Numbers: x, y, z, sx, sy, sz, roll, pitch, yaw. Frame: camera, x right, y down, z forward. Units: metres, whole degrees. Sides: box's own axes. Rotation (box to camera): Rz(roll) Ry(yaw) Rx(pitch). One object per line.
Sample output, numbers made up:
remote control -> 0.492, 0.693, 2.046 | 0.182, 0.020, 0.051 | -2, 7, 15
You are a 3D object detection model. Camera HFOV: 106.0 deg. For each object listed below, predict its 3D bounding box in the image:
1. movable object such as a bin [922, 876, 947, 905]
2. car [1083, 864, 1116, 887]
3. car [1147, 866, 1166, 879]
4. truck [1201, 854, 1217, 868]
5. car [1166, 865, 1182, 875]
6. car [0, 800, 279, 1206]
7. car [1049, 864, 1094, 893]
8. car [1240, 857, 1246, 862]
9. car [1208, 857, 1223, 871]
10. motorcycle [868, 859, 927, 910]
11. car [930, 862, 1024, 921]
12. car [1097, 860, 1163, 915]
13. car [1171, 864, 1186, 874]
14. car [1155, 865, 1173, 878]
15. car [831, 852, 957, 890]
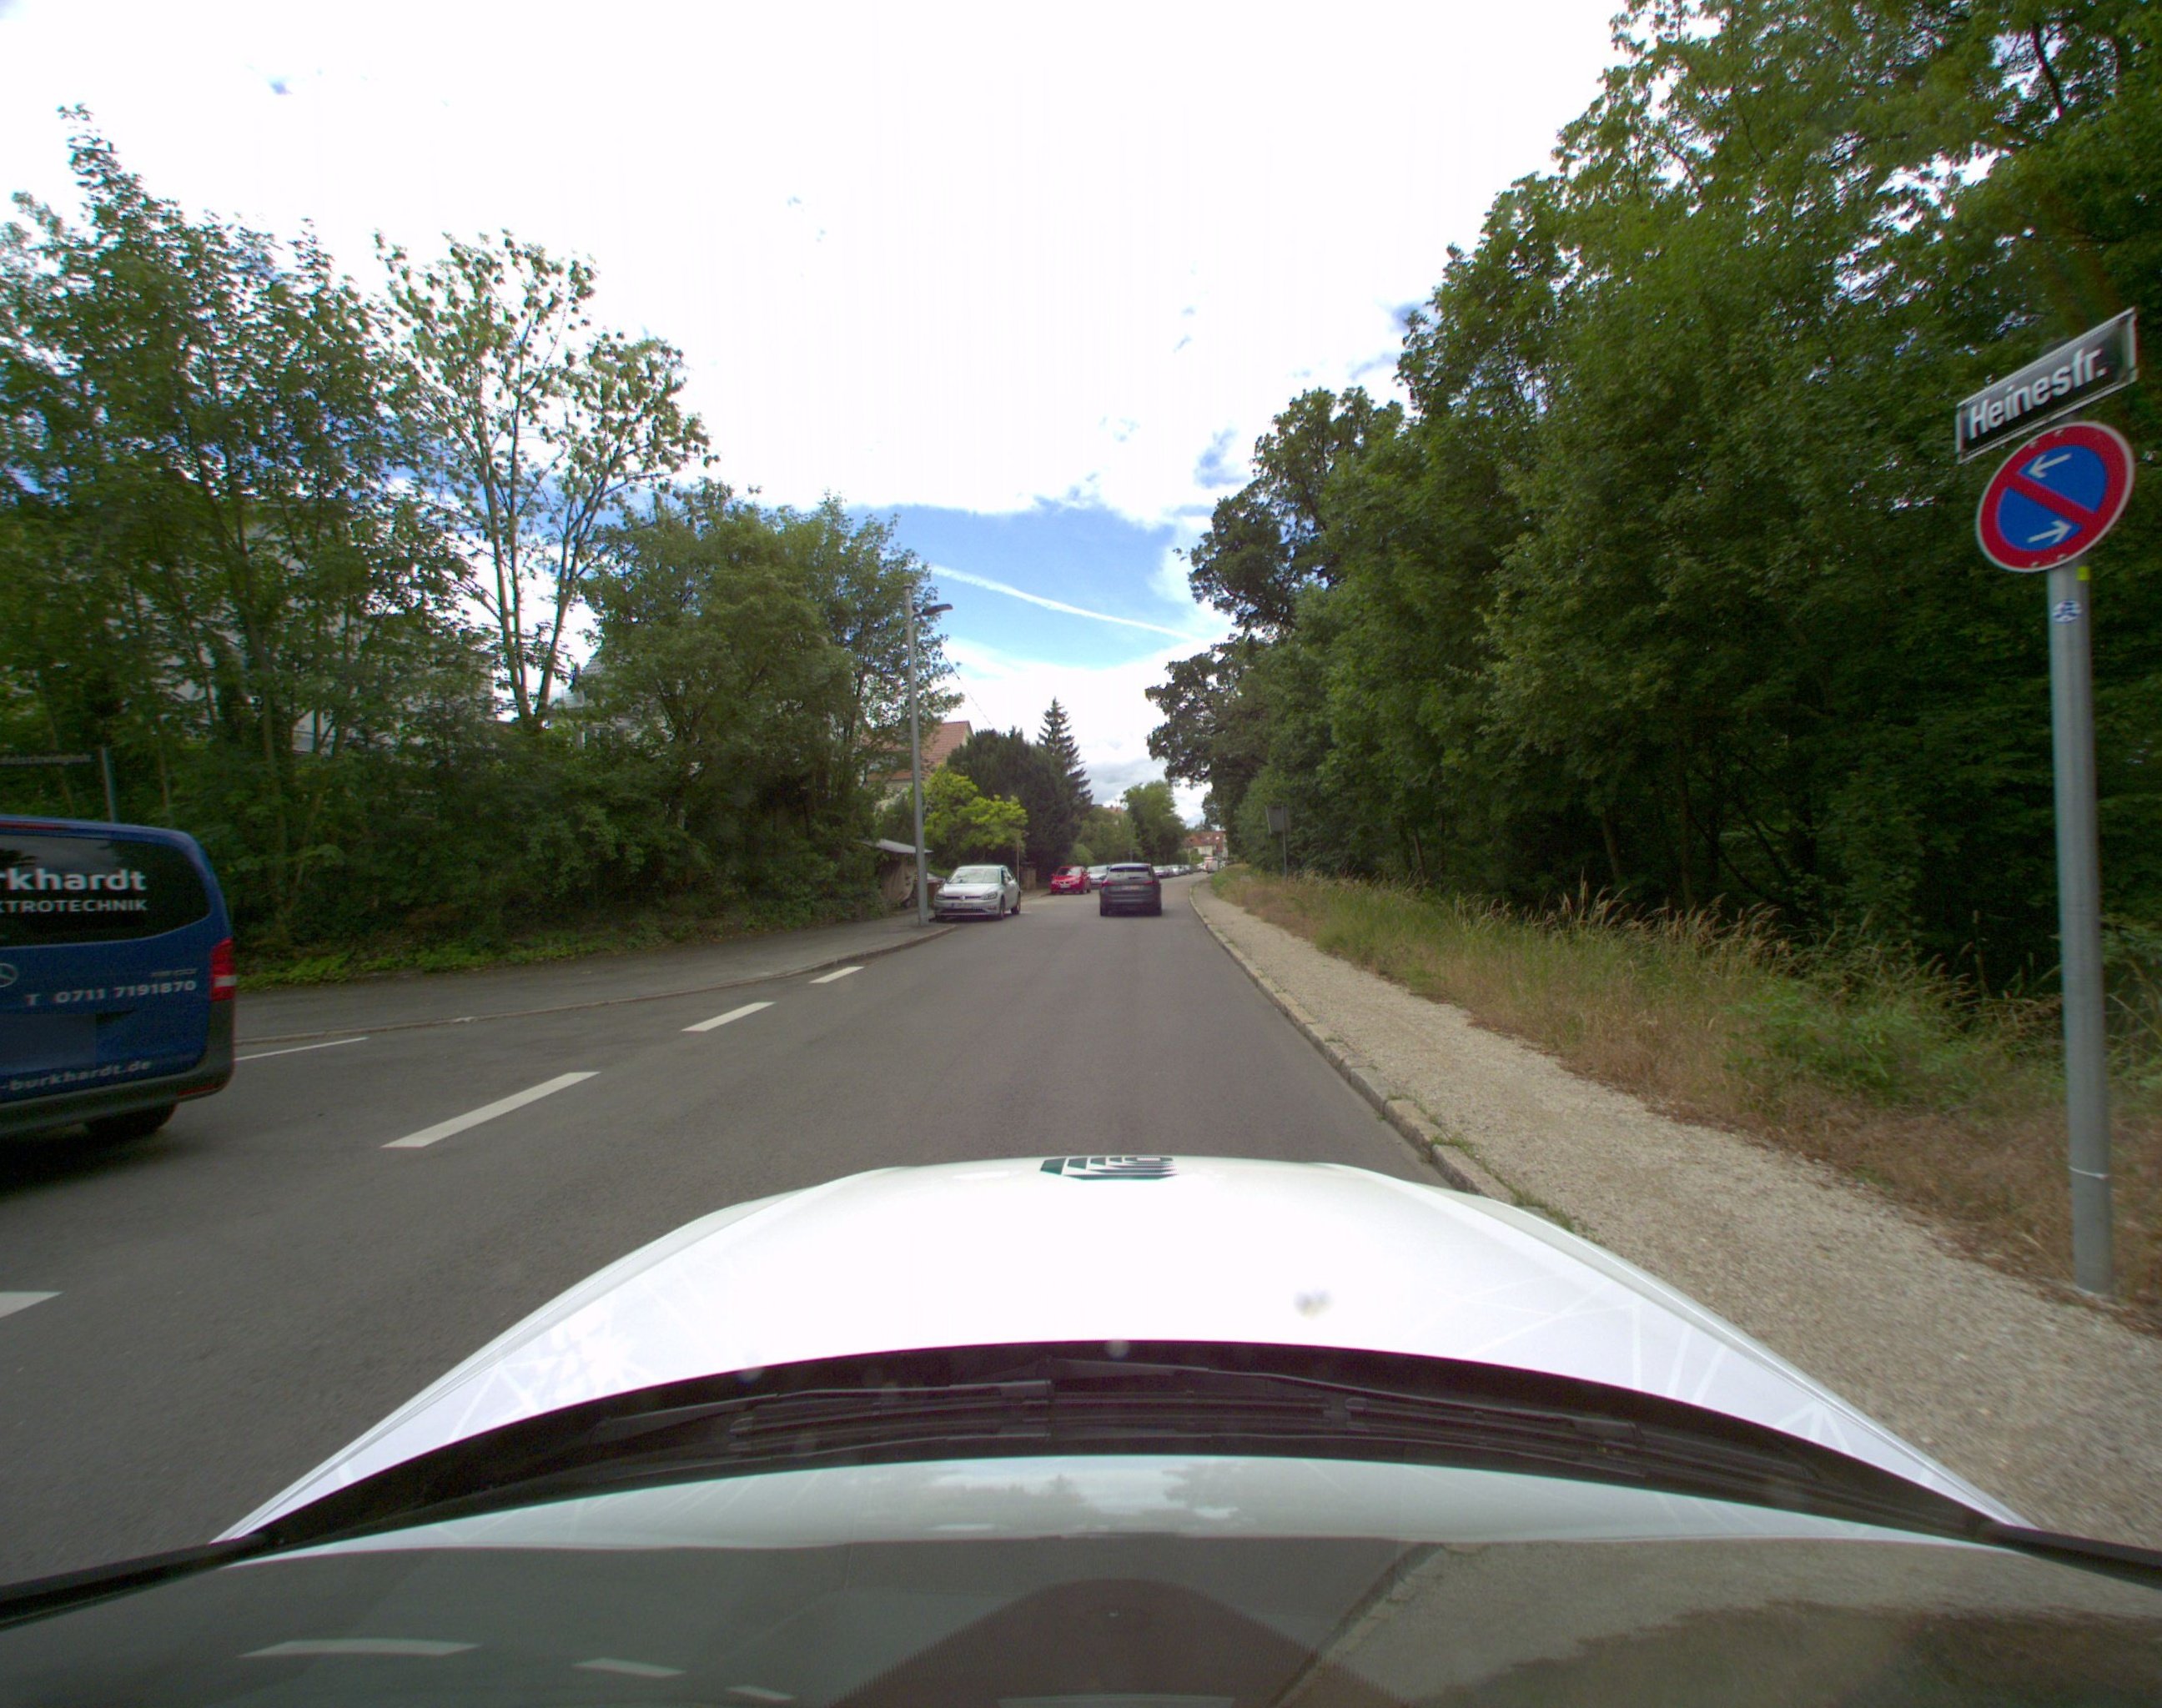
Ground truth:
movable object such as a bin -> -4.850, 1.203, 26.972 | 0.587, 0.909, 0.703 | -1, -1, 11
car -> 1.233, 1.358, 51.801 | 1.740, 1.405, 4.006 | -1, -1, 6
car -> 8.371, 1.992, 89.851 | 1.738, 1.405, 4.012 | -1, -1, 11
truck -> 25.874, 1.394, 163.877 | 2.746, 2.794, 9.296 | -1, 0, 11
car -> 12.453, 2.125, 108.663 | 1.738, 1.405, 4.012 | -1, -1, 11
car -> -7.112, 0.721, 4.585 | 4.477, 1.880, 1.952 | -1, 0, 20
car -> -0.434, 1.250, 41.927 | 1.626, 1.405, 4.010 | -1, -1, 9
car -> 45.436, 1.509, 228.391 | 1.724, 1.447, 4.010 | -1, -1, 9
car -> 21.113, 1.539, 127.916 | 2.192, 2.064, 6.152 | -1, 0, 10
motorcycle -> -5.566, 0.899, 24.929 | 0.805, 1.485, 2.901 | -1, -1, 7
car -> -2.754, 0.961, 22.447 | 1.697, 1.468, 4.081 | -1, -1, 5
car -> 1.516, 0.928, 23.740 | 1.726, 1.447, 4.187 | -1, -1, 6
car -> 14.256, 2.145, 118.968 | 1.738, 1.405, 4.012 | -1, -1, 11
car -> 9.818, 2.053, 96.251 | 1.738, 1.405, 4.012 | -1, -1, 11
car -> -7.335, 0.661, 32.142 | 4.456, 1.441, 1.883 | -1, -1, 8
